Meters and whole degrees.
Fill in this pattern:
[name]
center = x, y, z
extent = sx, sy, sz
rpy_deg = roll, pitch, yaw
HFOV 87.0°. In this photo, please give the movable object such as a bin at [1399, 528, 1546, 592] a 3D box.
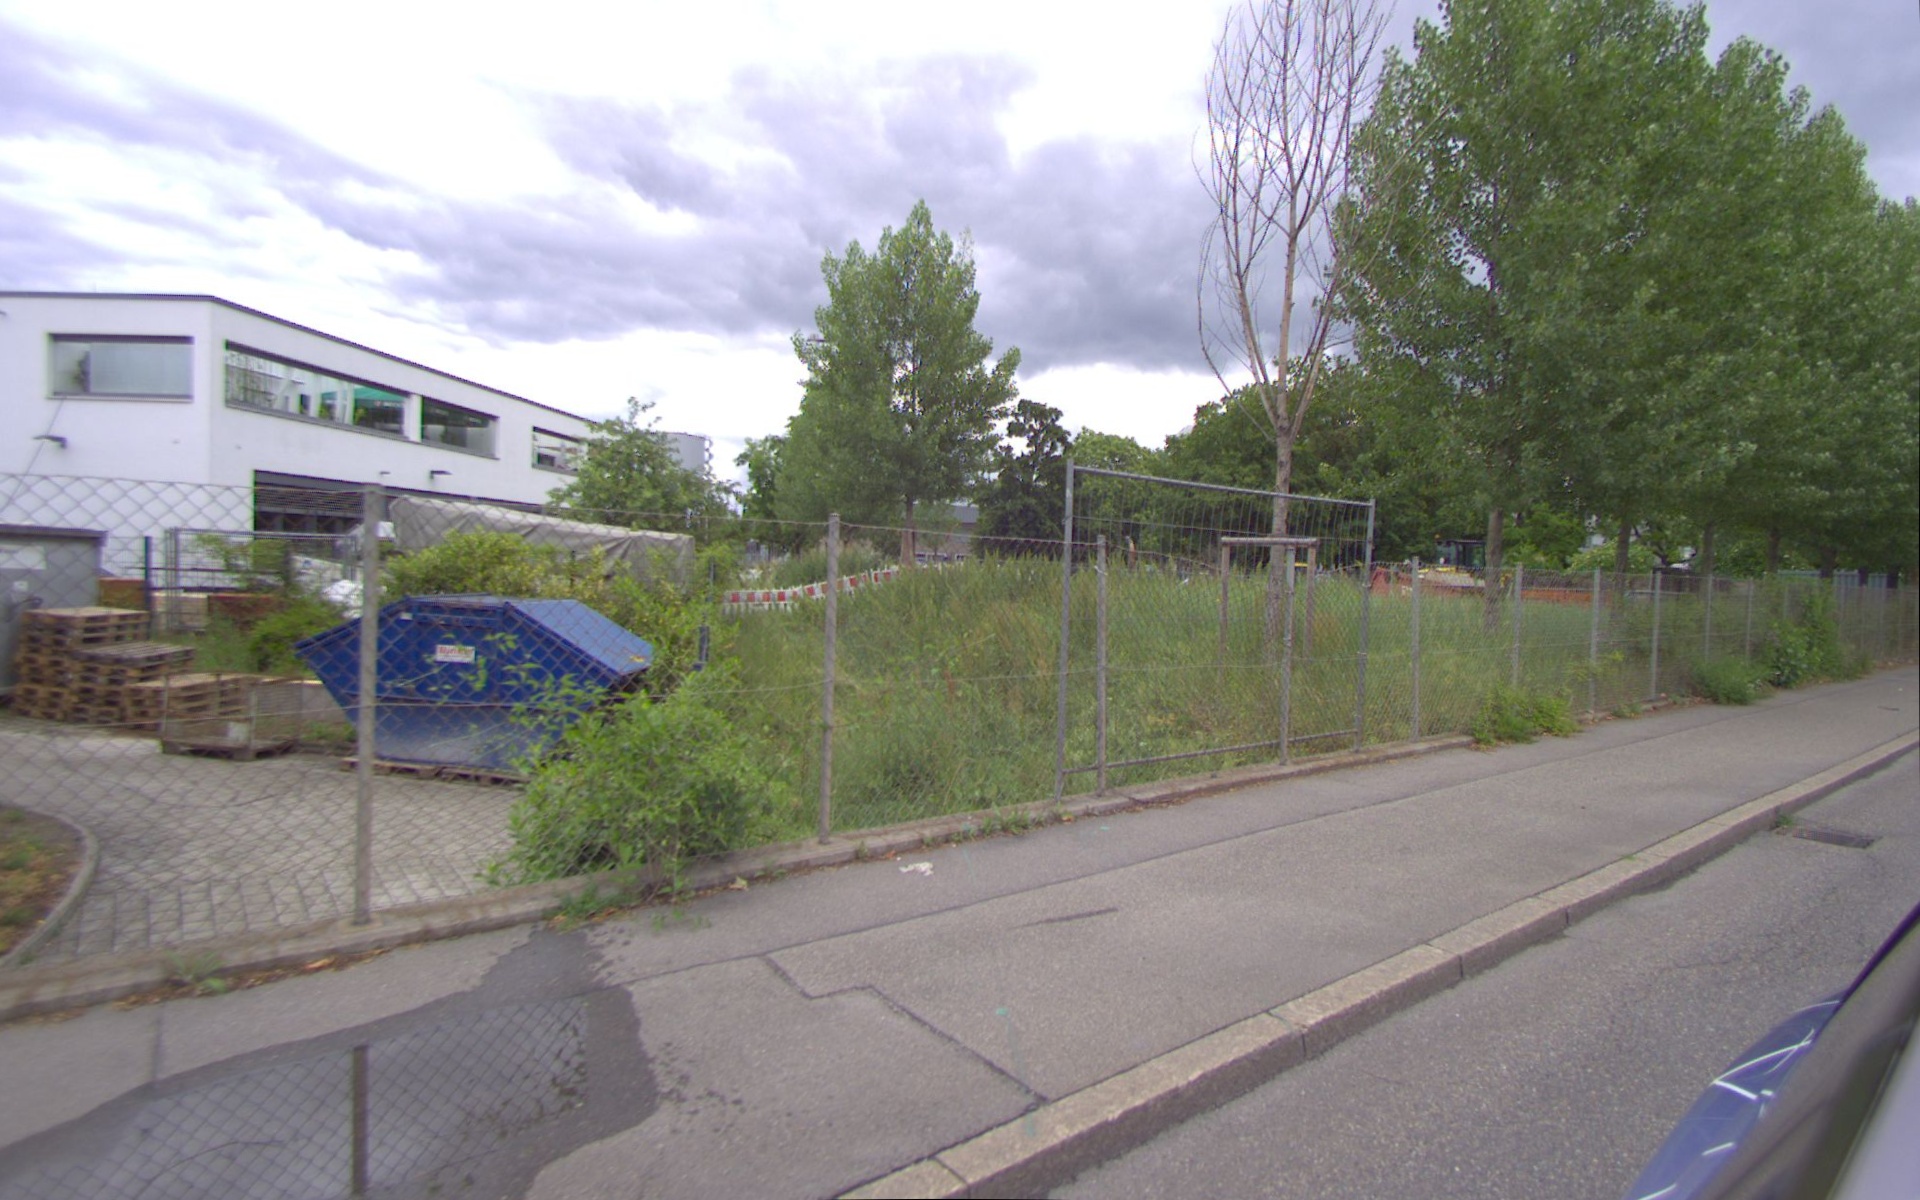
[movable object such as a bin]
center = 17.706, -1.437, 35.048
extent = 4.205, 2.037, 2.006
rpy_deg = -2, 4, -14
